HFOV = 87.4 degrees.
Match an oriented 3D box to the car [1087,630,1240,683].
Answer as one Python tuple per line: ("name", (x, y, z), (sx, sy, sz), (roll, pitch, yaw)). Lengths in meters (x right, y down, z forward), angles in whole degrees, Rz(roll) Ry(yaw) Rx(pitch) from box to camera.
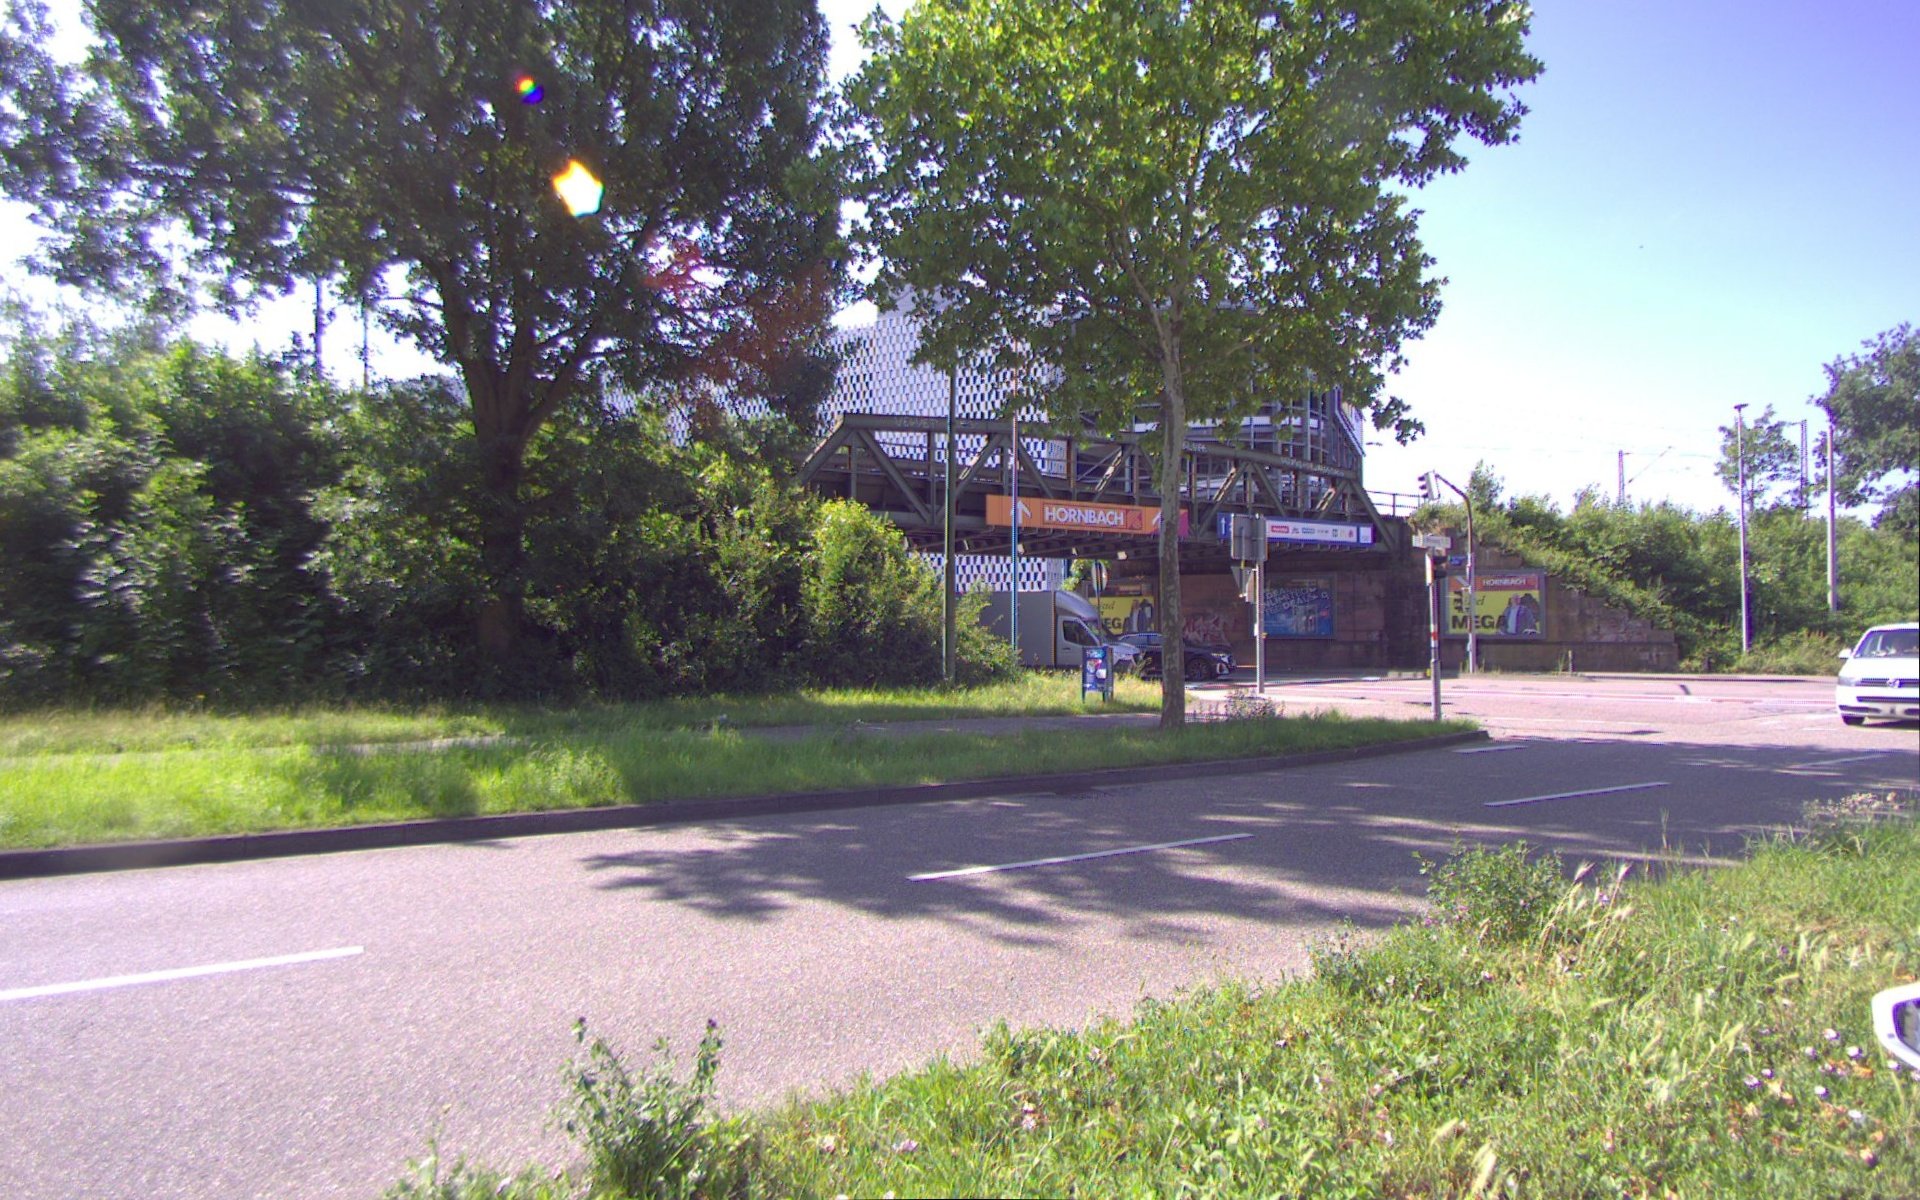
("car", (6.981, 1.902, 34.597), (4.957, 1.617, 1.526), (1, -1, 24))

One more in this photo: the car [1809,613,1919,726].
("car", (18.203, 1.280, 18.775), (4.929, 1.915, 1.985), (2, -4, -30))

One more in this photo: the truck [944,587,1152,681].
("truck", (2.770, 1.022, 32.095), (6.286, 2.748, 1.998), (1, -1, 26))
